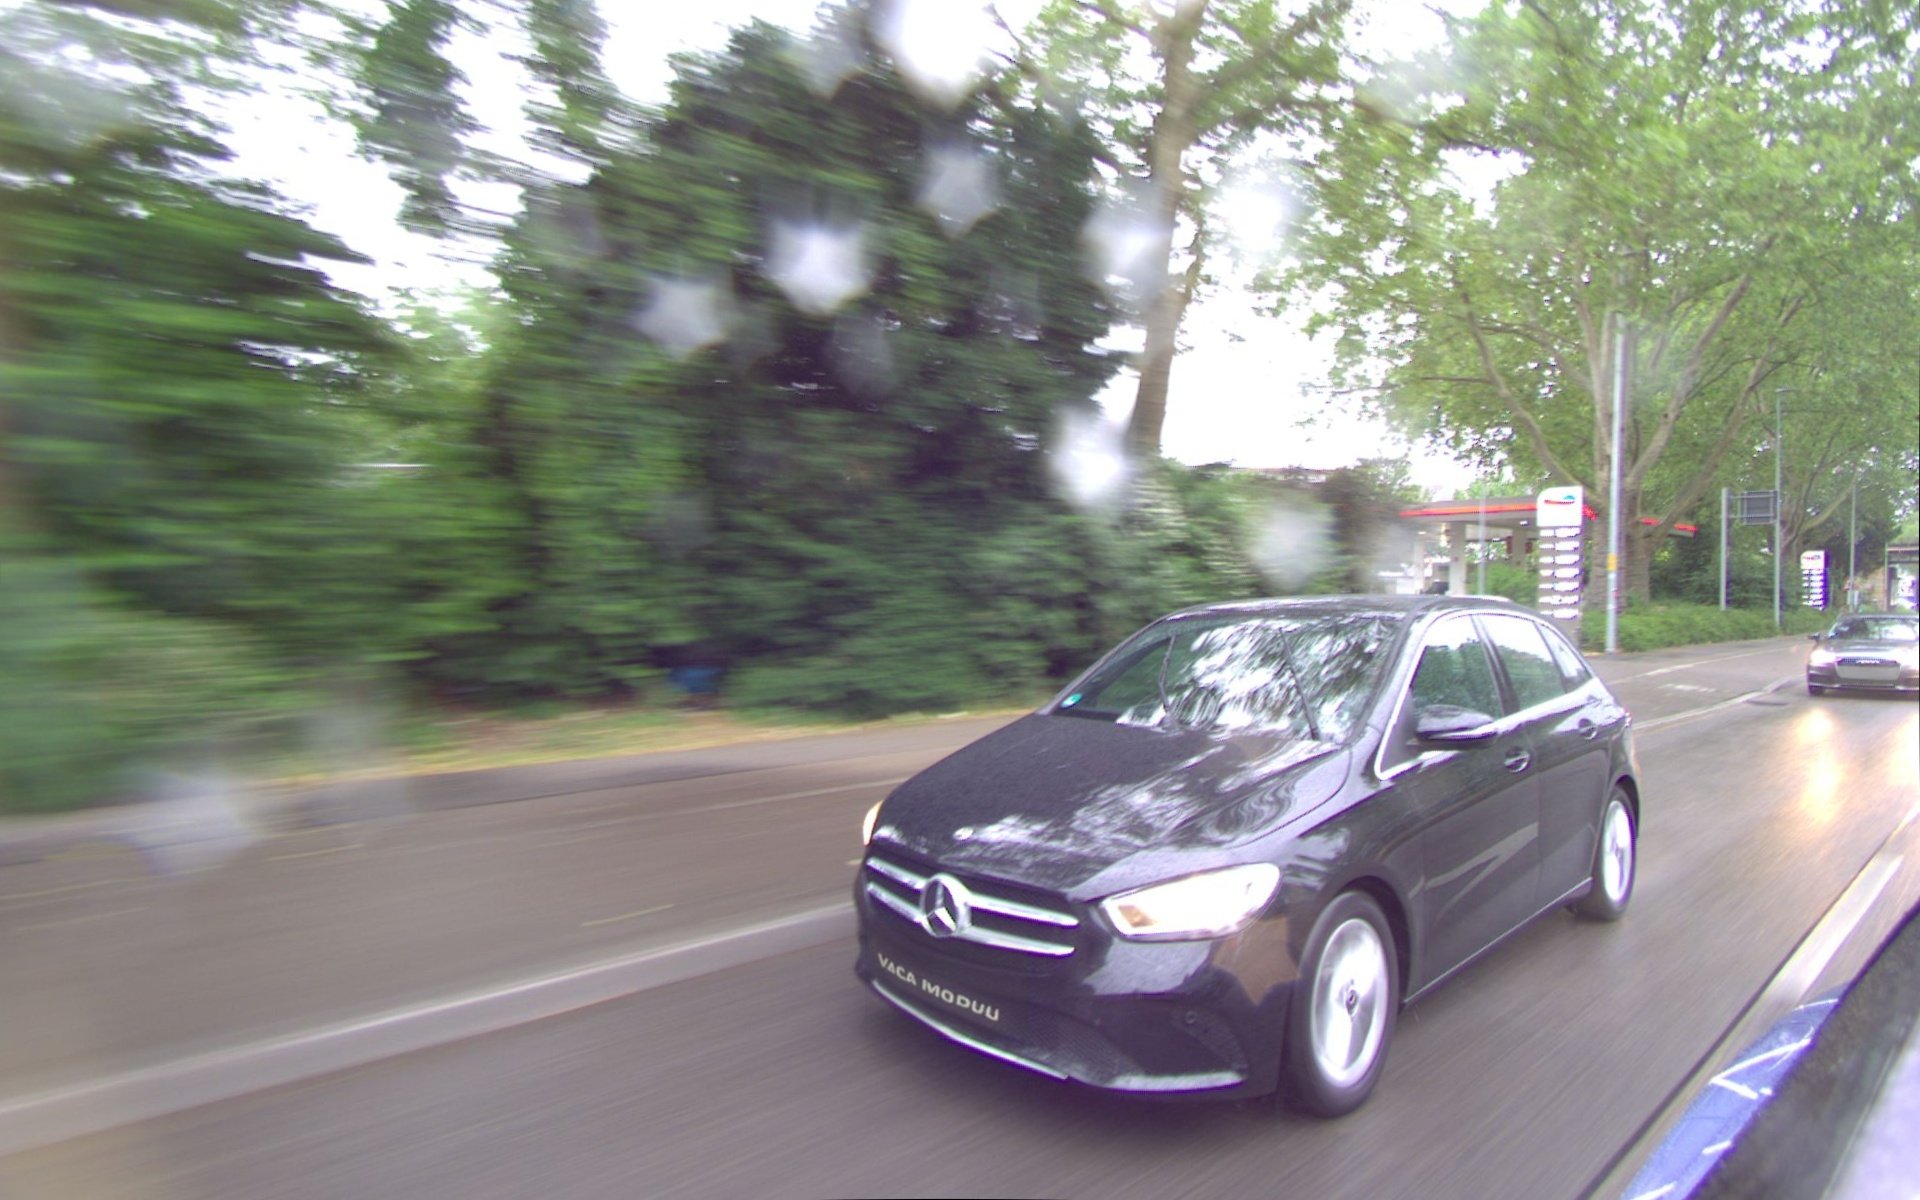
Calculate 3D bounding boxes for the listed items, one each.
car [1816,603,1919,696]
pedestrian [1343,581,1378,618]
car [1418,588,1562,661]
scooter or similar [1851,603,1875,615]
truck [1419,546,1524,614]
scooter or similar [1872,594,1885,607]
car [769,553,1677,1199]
[{"bbox_3d":[16.040,0.776,17.255,3.715,1.402,1.640,-1,0,-41],"label":"car"},{"bbox_3d":[19.912,-0.024,50.321,1.045,1.816,1.223,0,0,-40],"label":"pedestrian"},{"bbox_3d":[11.441,0.504,22.115,1.580,1.450,3.549,-1,0,7],"label":"car"},{"bbox_3d":[78.224,0.755,87.673,1.704,1.022,0.454,0,-1,-5],"label":"scooter or similar"},{"bbox_3d":[27.401,-0.973,54.065,7.642,3.395,2.695,0,-1,-45],"label":"truck"},{"bbox_3d":[80.029,0.052,88.202,1.792,1.174,0.454,0,-1,-36],"label":"scooter or similar"},{"bbox_3d":[1.517,0.674,4.388,4.348,1.549,1.818,0,-1,-44],"label":"car"}]
